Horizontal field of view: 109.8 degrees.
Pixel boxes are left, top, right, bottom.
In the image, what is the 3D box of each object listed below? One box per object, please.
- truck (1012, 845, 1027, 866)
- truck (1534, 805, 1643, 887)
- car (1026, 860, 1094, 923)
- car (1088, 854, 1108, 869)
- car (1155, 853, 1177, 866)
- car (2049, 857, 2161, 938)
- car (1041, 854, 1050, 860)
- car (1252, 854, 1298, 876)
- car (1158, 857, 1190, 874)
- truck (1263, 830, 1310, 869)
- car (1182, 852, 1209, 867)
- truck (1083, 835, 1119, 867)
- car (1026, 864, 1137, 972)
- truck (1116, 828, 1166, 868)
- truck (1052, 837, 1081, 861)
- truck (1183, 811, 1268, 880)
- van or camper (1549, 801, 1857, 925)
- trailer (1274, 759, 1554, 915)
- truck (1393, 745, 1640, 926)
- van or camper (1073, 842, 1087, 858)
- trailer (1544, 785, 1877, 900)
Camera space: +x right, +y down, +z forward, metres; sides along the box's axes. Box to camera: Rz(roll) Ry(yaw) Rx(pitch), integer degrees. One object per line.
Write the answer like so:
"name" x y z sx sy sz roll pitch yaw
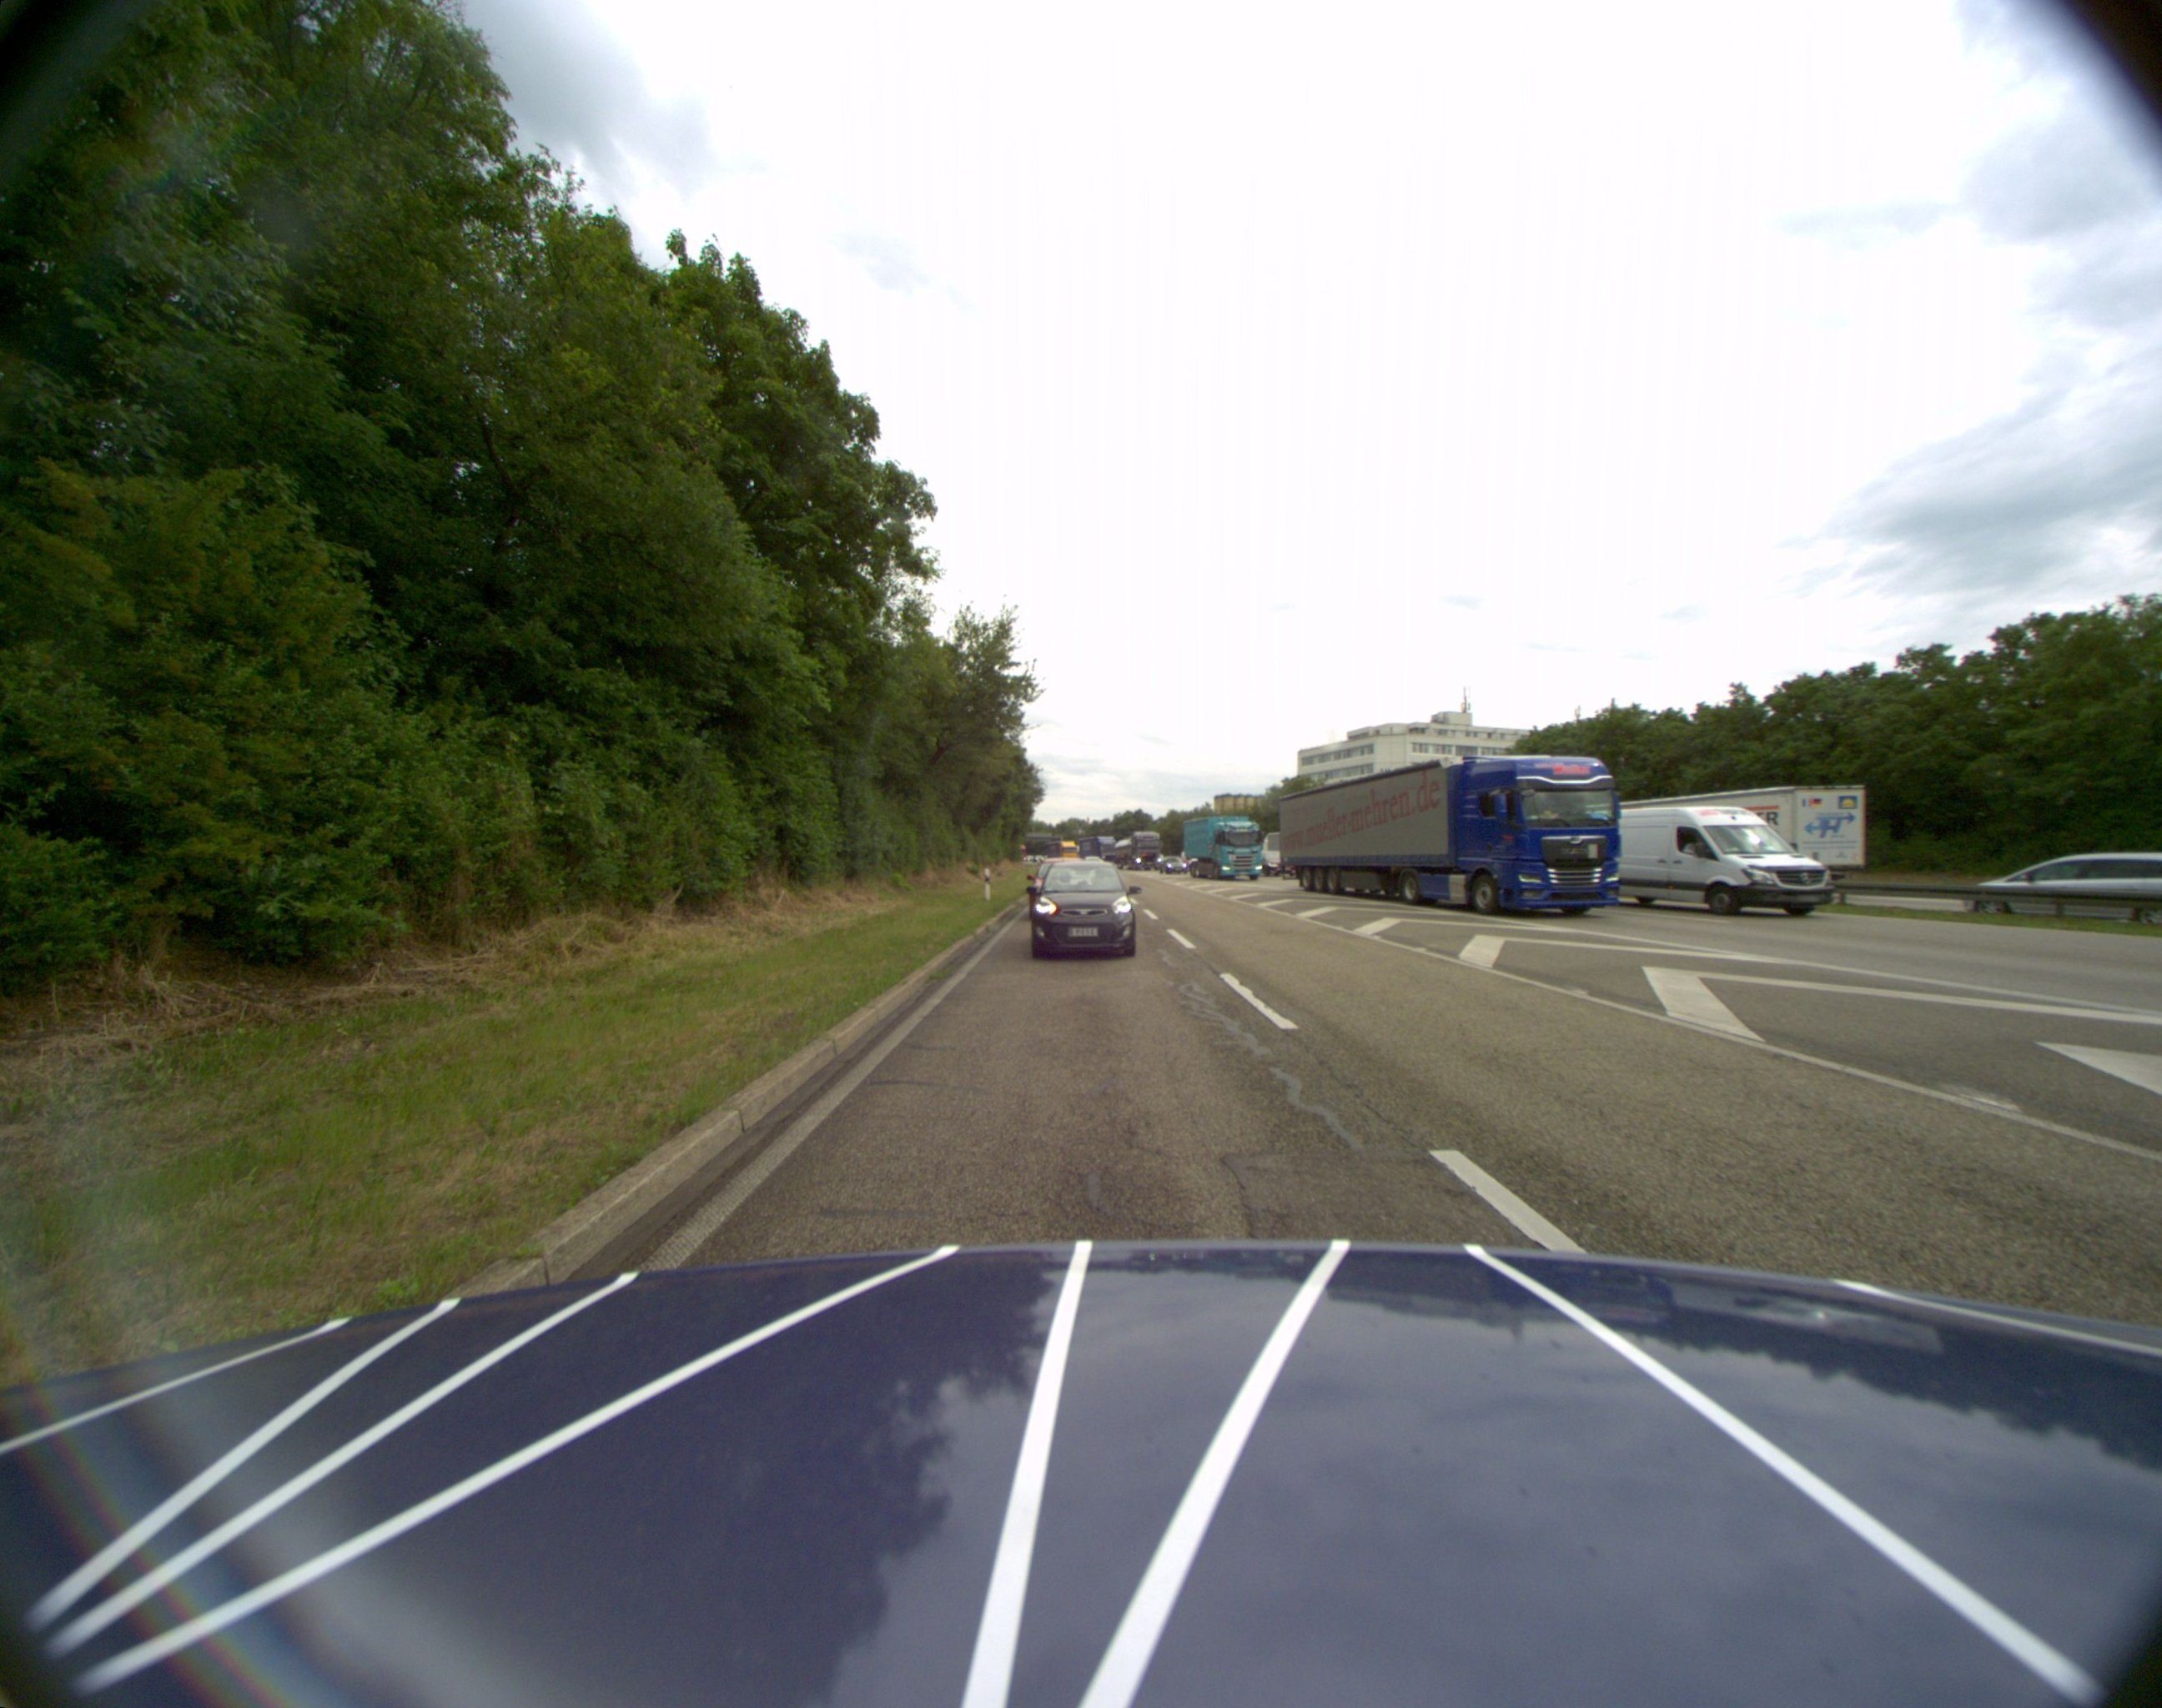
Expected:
"truck" -15.577 0.327 191.424 2.848 5.070 14.109 0 0 -9
"truck" 26.332 -0.413 39.629 2.957 4.067 3.999 0 0 -2
"car" -0.530 0.908 19.887 1.631 1.492 3.563 0 0 -1
"car" 1.689 0.727 76.766 1.864 1.455 4.884 -1 0 -1
"car" 10.093 0.621 90.321 1.999 1.474 3.248 0 0 -5
"car" 22.532 0.873 14.863 1.790 1.612 4.171 0 0 -3
"car" -7.576 0.659 161.670 1.636 1.328 3.192 0 0 -11
"car" 13.242 0.733 51.971 1.898 1.425 3.998 0 0 -4
"car" 7.595 0.901 62.561 1.758 1.314 3.998 0 0 -6
"truck" 21.615 -0.445 80.340 2.354 3.861 8.111 0 0 -3
"car" 11.434 0.519 76.002 1.898 1.425 4.054 0 0 -4
"truck" 2.621 -0.440 105.929 2.815 4.206 13.996 0 0 -7
"car" 0.016 0.943 12.876 1.584 1.485 4.000 -1 0 0
"truck" 6.286 -0.601 81.744 3.329 3.902 13.139 0 0 -4
"truck" -2.792 -0.911 140.029 2.849 4.206 14.105 0 0 -12
"truck" 8.975 -0.498 48.566 2.701 3.977 10.120 0 0 -5
"van or camper" 15.273 0.189 19.508 2.054 2.606 6.954 0 0 -1
"trailer" 10.271 -0.443 26.296 2.681 3.951 13.914 0 0 -4
"truck" 10.779 -0.416 19.602 2.676 3.938 5.925 0 0 -4
"van or camper" -0.212 -0.696 143.199 2.000 3.053 4.416 0 0 -11
"trailer" 26.595 -0.407 33.901 2.957 4.067 13.824 0 0 -2
